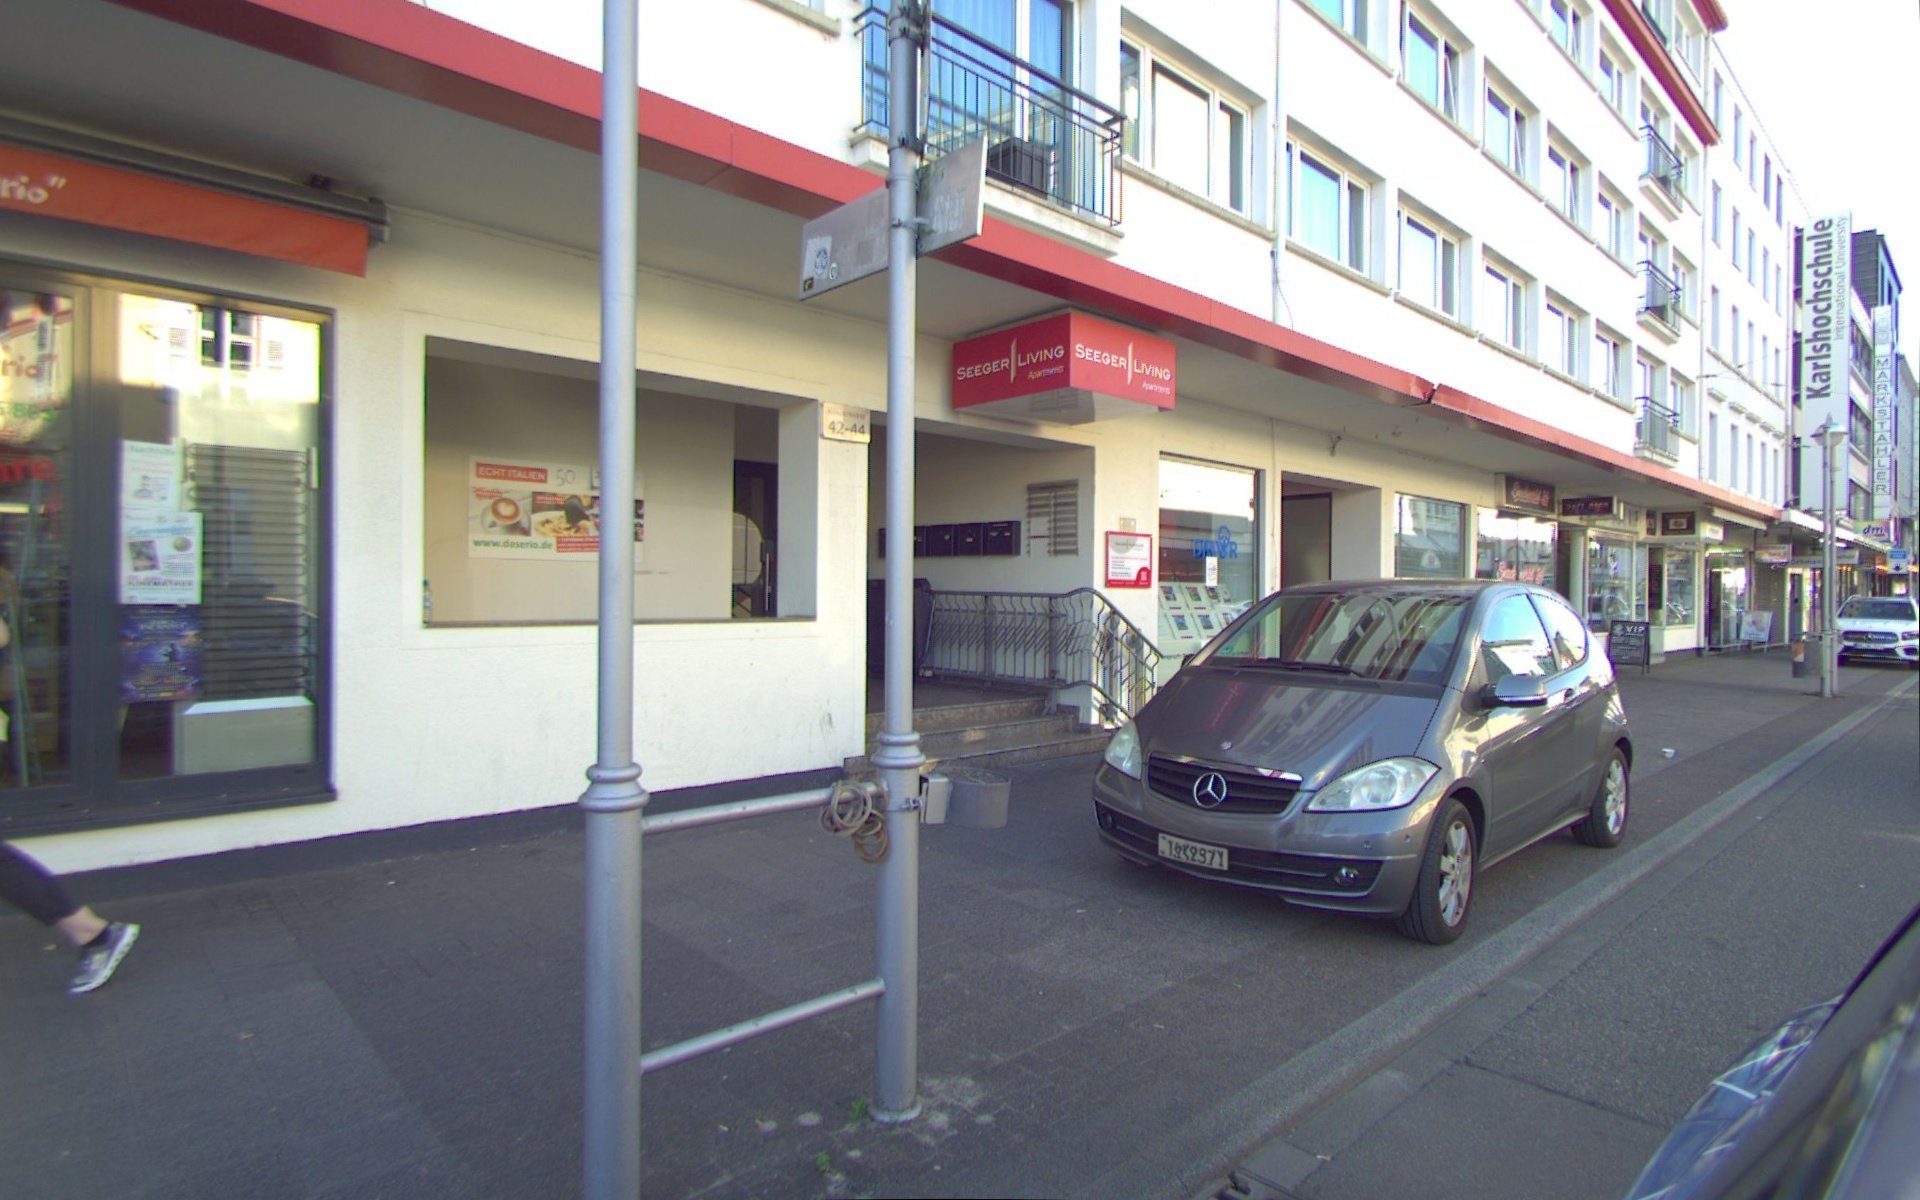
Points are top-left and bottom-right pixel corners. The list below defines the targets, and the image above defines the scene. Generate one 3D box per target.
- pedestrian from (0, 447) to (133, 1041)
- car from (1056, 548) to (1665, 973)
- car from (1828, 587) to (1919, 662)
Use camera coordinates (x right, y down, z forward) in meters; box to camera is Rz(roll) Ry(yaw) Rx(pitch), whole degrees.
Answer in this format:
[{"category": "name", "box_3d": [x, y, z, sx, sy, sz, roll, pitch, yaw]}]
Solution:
[{"category": "pedestrian", "box_3d": [-3.317, 0.424, 3.232, 1.020, 1.774, 0.916, 0, 0, -41]}, {"category": "car", "box_3d": [2.472, 0.595, 5.702, 3.932, 1.565, 1.681, 0, 0, -43]}, {"category": "car", "box_3d": [22.394, 0.534, 24.352, 1.994, 1.650, 3.935, 1, 1, 45]}]
